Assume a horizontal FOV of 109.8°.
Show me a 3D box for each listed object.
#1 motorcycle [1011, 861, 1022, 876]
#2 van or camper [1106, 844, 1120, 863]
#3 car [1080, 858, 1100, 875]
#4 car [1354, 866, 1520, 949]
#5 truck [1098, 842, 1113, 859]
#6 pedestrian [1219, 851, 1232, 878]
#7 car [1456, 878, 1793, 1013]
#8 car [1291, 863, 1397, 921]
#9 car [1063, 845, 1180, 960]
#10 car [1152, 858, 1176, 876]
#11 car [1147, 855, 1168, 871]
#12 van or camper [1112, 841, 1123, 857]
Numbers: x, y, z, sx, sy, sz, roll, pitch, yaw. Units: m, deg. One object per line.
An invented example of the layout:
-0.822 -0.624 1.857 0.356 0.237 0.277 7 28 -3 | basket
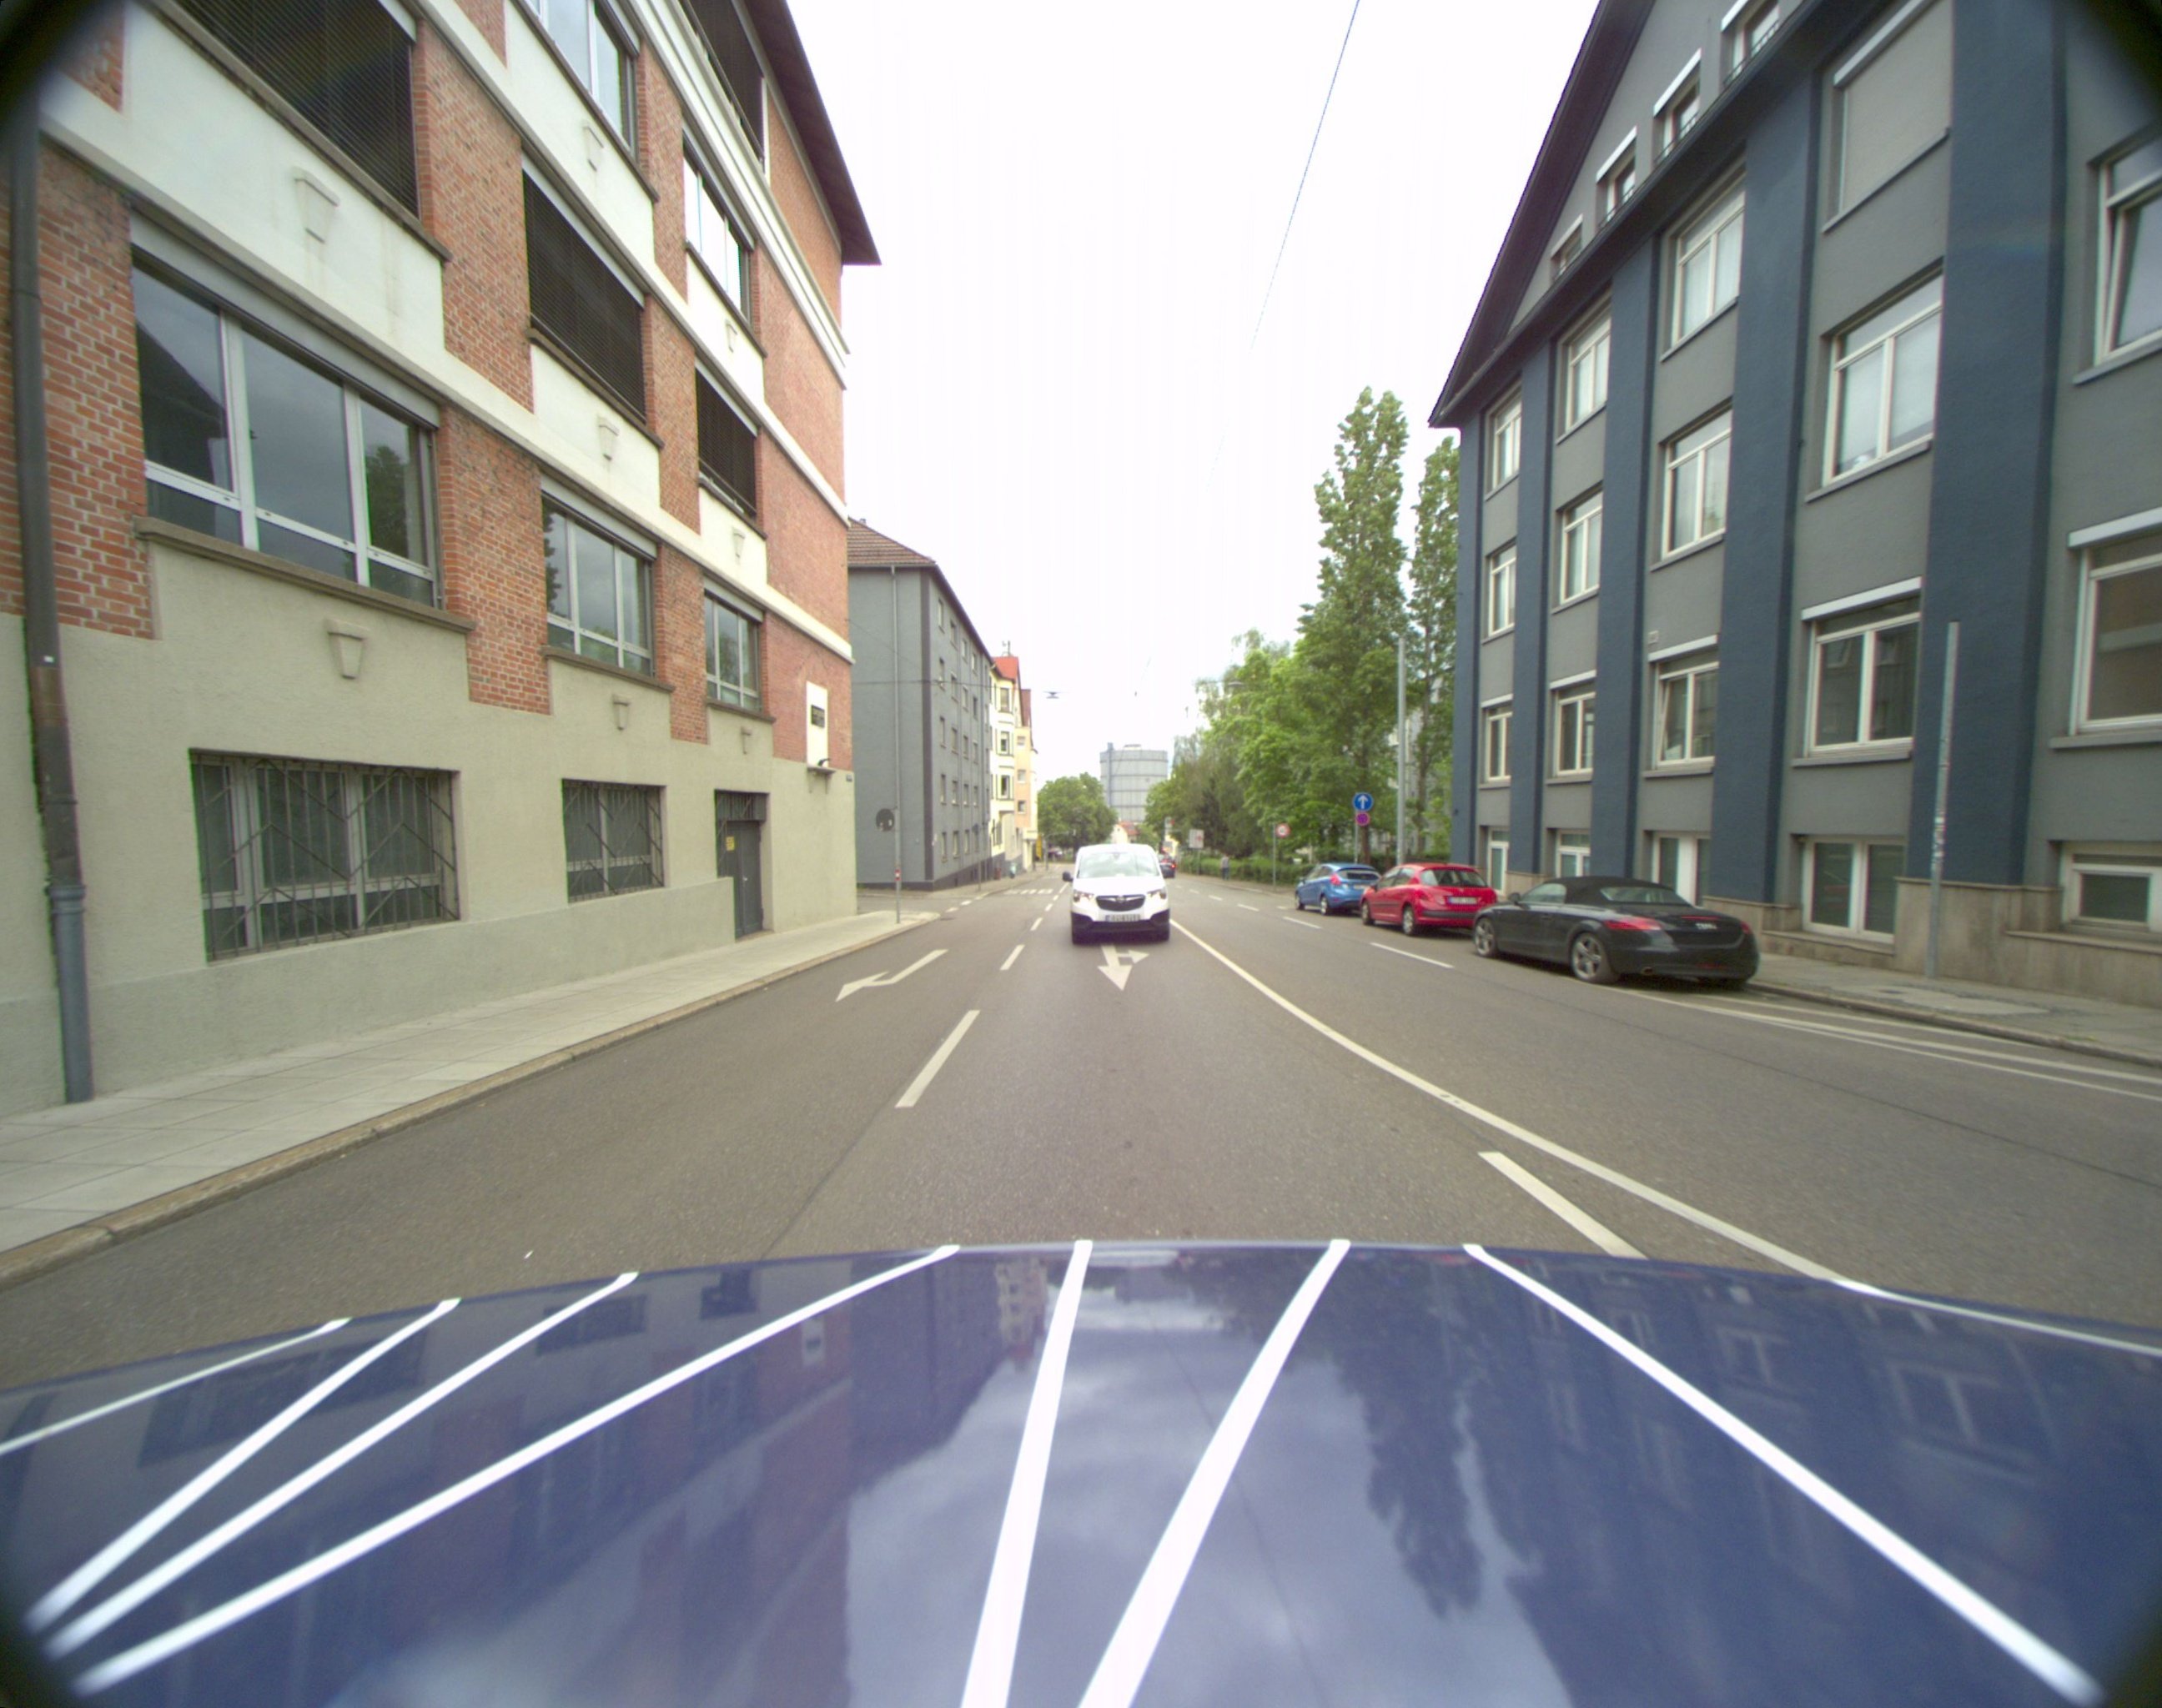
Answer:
-5.137 1.149 60.410 0.566 1.105 1.653 4 0 2 | motorcycle
4.713 -0.090 111.726 1.914 2.754 5.925 1 0 2 | van or camper
0.867 1.179 70.170 1.724 1.486 3.727 1 0 2 | car
7.415 1.039 16.284 1.819 1.465 3.869 2 0 2 | car
5.229 -0.801 161.450 2.980 3.394 9.358 -2 0 1 | truck
9.890 0.730 51.951 0.746 1.839 0.776 -1 0 2 | pedestrian
7.047 1.083 10.482 1.724 1.319 4.041 2 0 0 | car
7.406 1.018 21.770 1.724 1.445 3.727 1 0 0 | car
0.704 0.791 14.758 1.840 1.797 4.939 -2 0 1 | car
7.008 1.103 64.458 1.724 1.475 3.727 1 0 2 | car
7.208 0.810 71.876 1.724 1.408 3.727 1 0 2 | car
6.795 -0.911 141.625 1.914 2.754 5.925 1 0 2 | van or camper
